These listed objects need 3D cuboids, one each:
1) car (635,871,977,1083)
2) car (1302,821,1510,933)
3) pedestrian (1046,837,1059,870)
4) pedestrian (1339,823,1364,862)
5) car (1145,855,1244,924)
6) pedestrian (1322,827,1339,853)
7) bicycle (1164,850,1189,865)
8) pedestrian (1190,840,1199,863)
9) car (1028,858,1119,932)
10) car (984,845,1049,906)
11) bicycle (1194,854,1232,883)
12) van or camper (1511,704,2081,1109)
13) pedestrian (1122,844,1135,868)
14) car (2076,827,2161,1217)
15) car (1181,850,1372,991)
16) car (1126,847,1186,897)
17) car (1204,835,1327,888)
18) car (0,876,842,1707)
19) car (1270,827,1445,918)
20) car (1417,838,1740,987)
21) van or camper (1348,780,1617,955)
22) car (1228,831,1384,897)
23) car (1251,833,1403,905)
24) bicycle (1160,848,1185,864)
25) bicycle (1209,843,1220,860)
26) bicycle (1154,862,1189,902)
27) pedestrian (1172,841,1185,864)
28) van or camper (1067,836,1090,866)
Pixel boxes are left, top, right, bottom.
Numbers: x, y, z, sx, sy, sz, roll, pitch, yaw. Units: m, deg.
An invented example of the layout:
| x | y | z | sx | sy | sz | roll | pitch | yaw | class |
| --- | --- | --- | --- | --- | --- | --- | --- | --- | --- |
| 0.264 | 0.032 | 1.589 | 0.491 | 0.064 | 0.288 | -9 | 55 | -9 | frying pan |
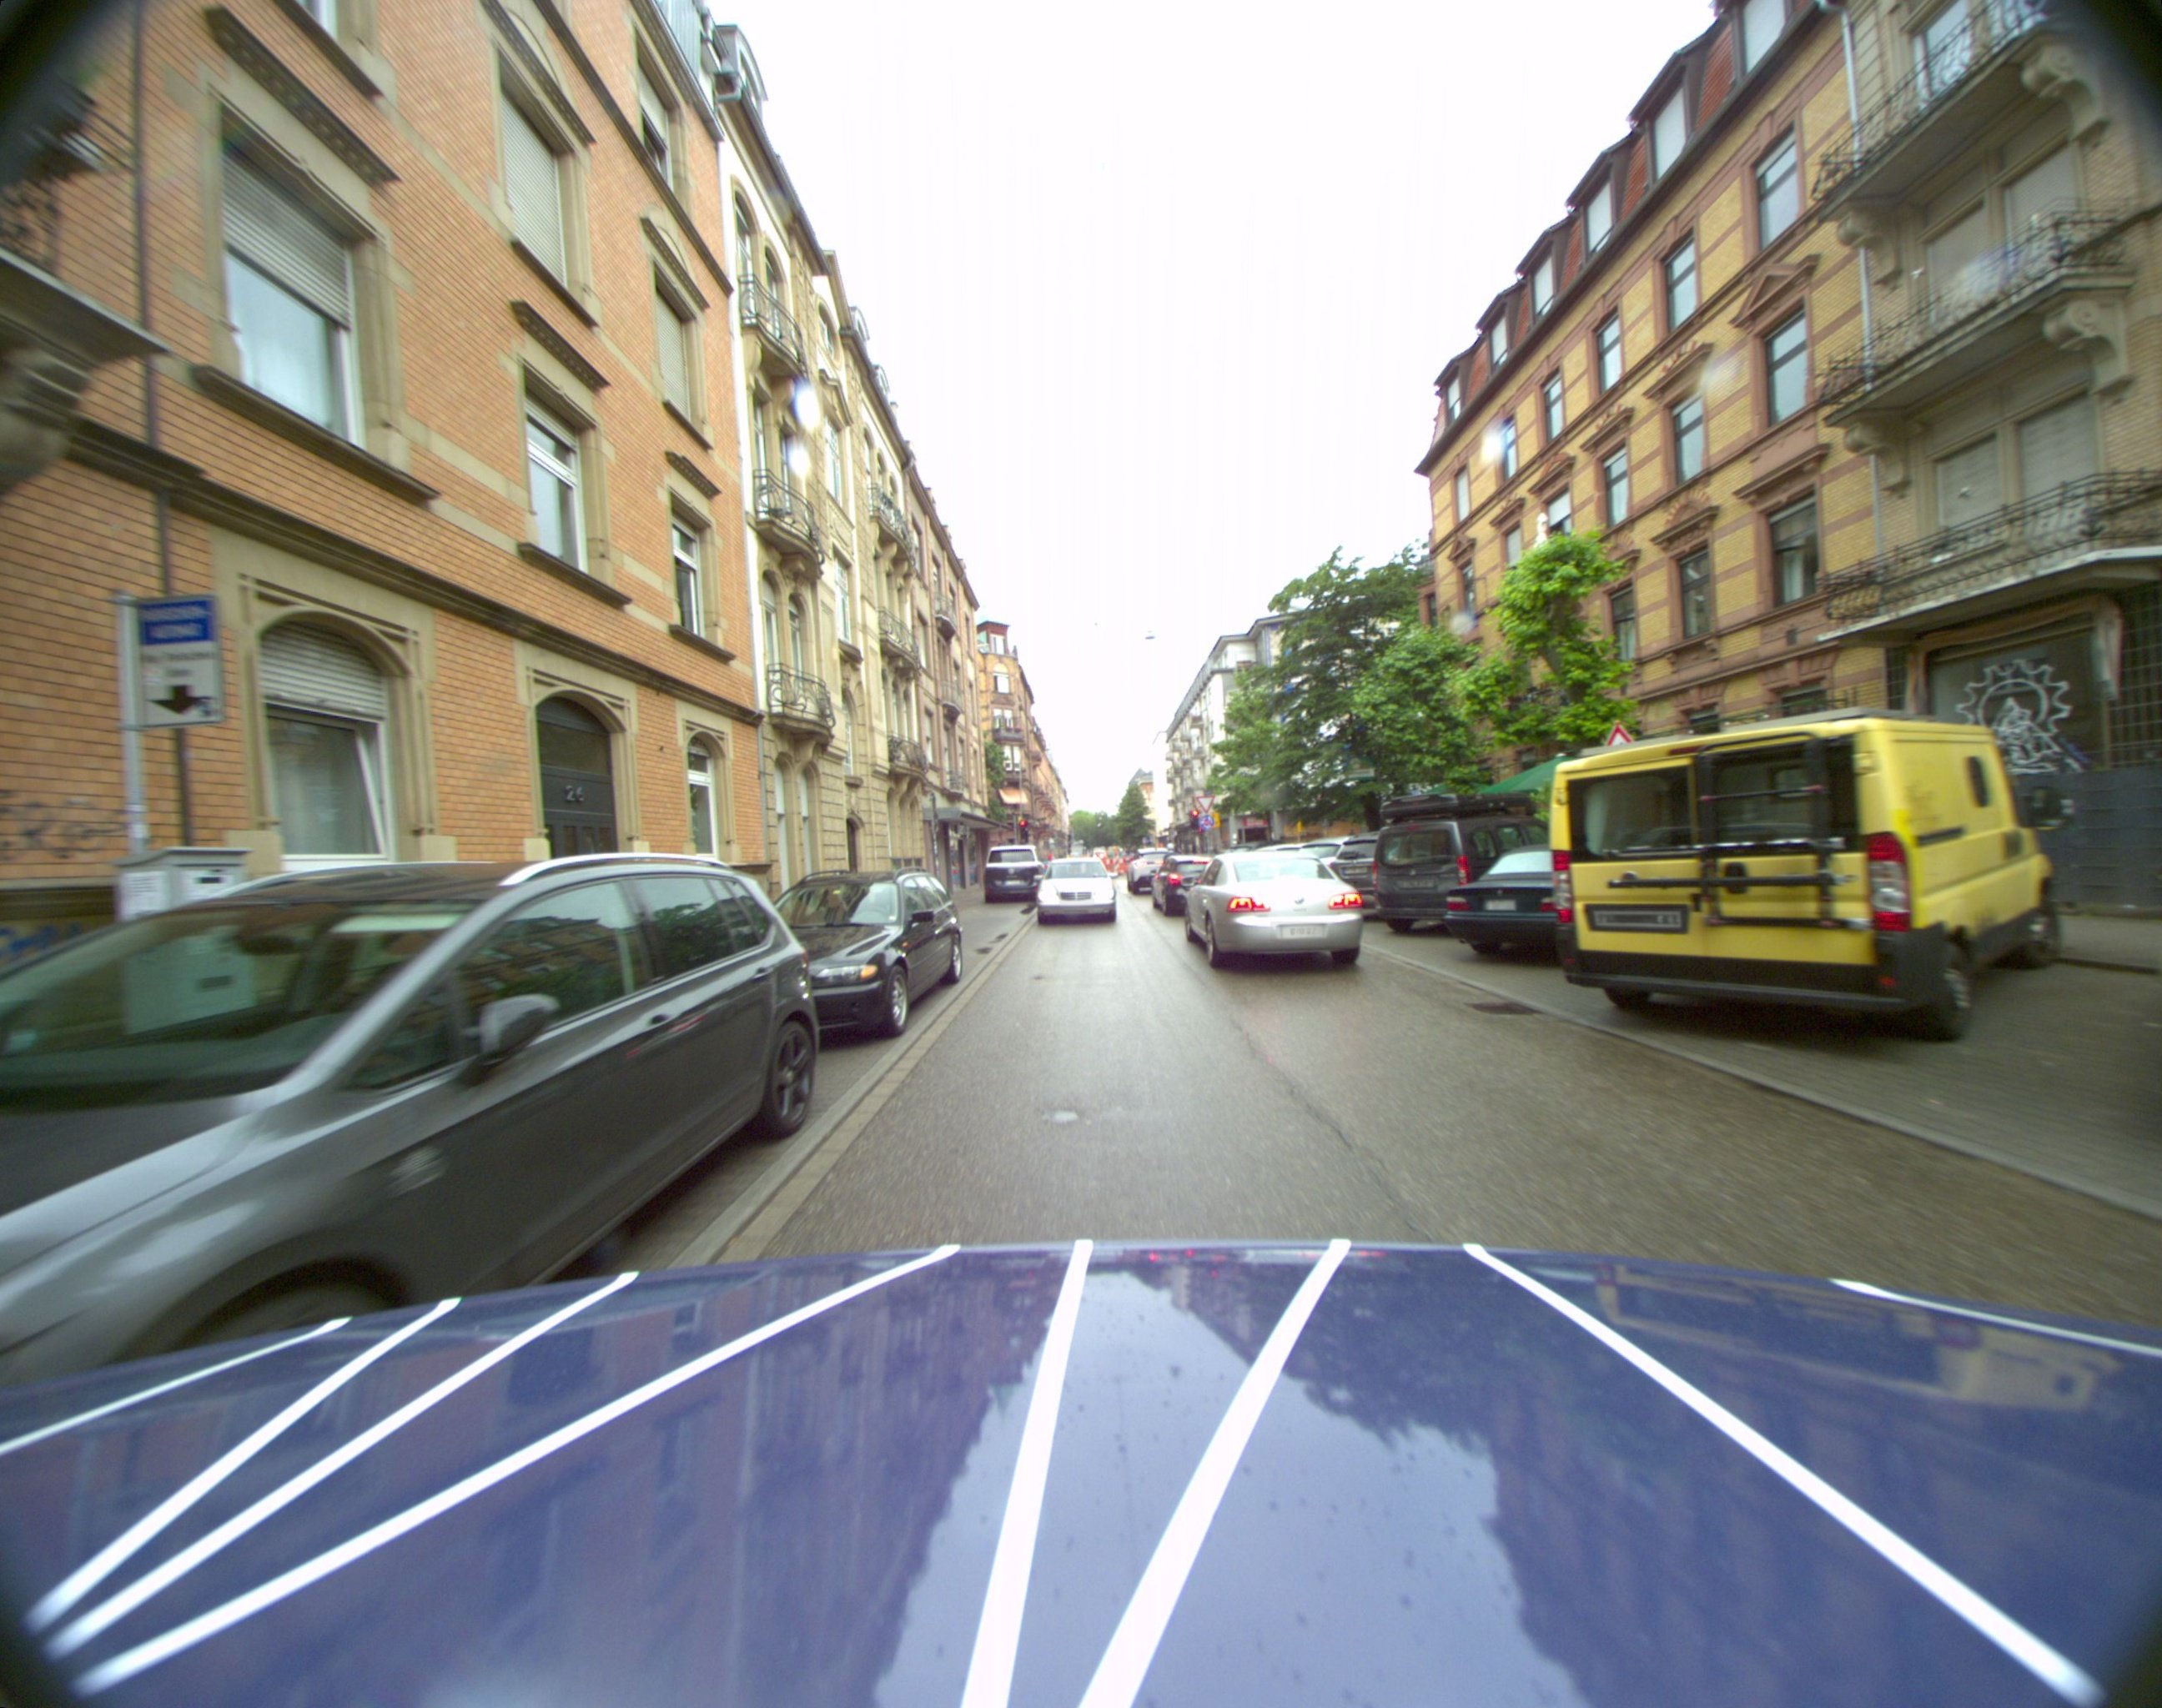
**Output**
| x | y | z | sx | sy | sz | roll | pitch | yaw | class |
| --- | --- | --- | --- | --- | --- | --- | --- | --- | --- |
| -2.405 | 0.990 | 8.021 | 1.791 | 1.457 | 4.484 | -3 | -1 | 2 | car |
| 6.526 | 0.369 | 15.111 | 4.143 | 1.653 | 1.797 | -7 | 3 | -35 | car |
| -2.306 | -0.026 | 62.100 | 0.696 | 2.594 | 0.539 | -5 | 2 | -31 | pedestrian |
| 14.607 | -0.608 | 40.984 | 0.942 | 2.002 | 0.865 | -4 | 1 | 36 | pedestrian |
| 2.719 | 0.792 | 19.140 | 1.800 | 1.485 | 4.138 | -1 | 0 | -1 | car |
| 16.148 | -0.937 | 49.234 | 0.797 | 1.606 | 0.606 | -4 | 2 | 36 | pedestrian |
| 7.846 | 0.267 | 62.466 | 1.895 | 1.028 | 0.661 | -6 | 0 | -13 | bicycle |
| 9.168 | -0.182 | 61.215 | 0.604 | 1.837 | 0.770 | -4 | 1 | 9 | pedestrian |
| -0.101 | 0.895 | 18.697 | 1.859 | 1.390 | 4.980 | -3 | 1 | 2 | car |
| -2.221 | 0.679 | 27.543 | 1.999 | 1.928 | 5.228 | -2 | 1 | -2 | car |
| 5.409 | 0.590 | 31.205 | 0.588 | 1.137 | 1.679 | -5 | 1 | -27 | bicycle |
| 6.115 | 0.151 | 6.373 | 4.732 | 2.254 | 2.180 | -6 | 0 | -31 | van or camper |
| 3.896 | 0.123 | 61.881 | 0.717 | 1.886 | 0.606 | -4 | 2 | 36 | pedestrian |
| 6.409 | 0.585 | 3.328 | 3.924 | 1.486 | 1.959 | -4 | 1 | -30 | car |
| 2.518 | 0.797 | 10.927 | 1.799 | 1.484 | 4.585 | -4 | -1 | 4 | car |
| 2.728 | 0.613 | 28.736 | 1.863 | 1.650 | 5.008 | -2 | 0 | 2 | car |
| 6.994 | 0.247 | 28.610 | 4.464 | 1.555 | 1.995 | -6 | 3 | -35 | car |
| -2.590 | 0.971 | 2.796 | 1.876 | 1.552 | 4.345 | -2 | 0 | 2 | car |
| 6.696 | 0.386 | 18.271 | 4.143 | 1.653 | 1.797 | -7 | 2 | -35 | car |
| 6.345 | 0.598 | 9.606 | 4.006 | 1.486 | 1.823 | -2 | 0 | -31 | car |
| 6.588 | 0.105 | 12.382 | 4.089 | 2.227 | 1.932 | -7 | 3 | -31 | van or camper |
| 7.137 | 0.298 | 23.916 | 4.731 | 1.554 | 1.996 | -6 | 0 | -33 | car |
| 6.945 | 0.369 | 21.289 | 4.143 | 1.486 | 1.797 | -7 | 3 | -34 | car |
| 7.972 | 0.160 | 66.388 | 2.021 | 1.188 | 0.551 | -6 | 0 | 7 | bicycle |
| 11.210 | -0.250 | 63.856 | 0.450 | 1.366 | 2.024 | -6 | 0 | 3 | bicycle |
| 2.832 | 0.858 | 23.953 | 0.772 | 1.173 | 2.269 | -3 | -1 | -1 | bicycle |
| 8.042 | -0.142 | 62.543 | 0.862 | 1.837 | 0.770 | -4 | 1 | 9 | pedestrian |
| -0.322 | -0.331 | 89.574 | 2.411 | 3.308 | 7.072 | -4 | 0 | 0 | van or camper |
